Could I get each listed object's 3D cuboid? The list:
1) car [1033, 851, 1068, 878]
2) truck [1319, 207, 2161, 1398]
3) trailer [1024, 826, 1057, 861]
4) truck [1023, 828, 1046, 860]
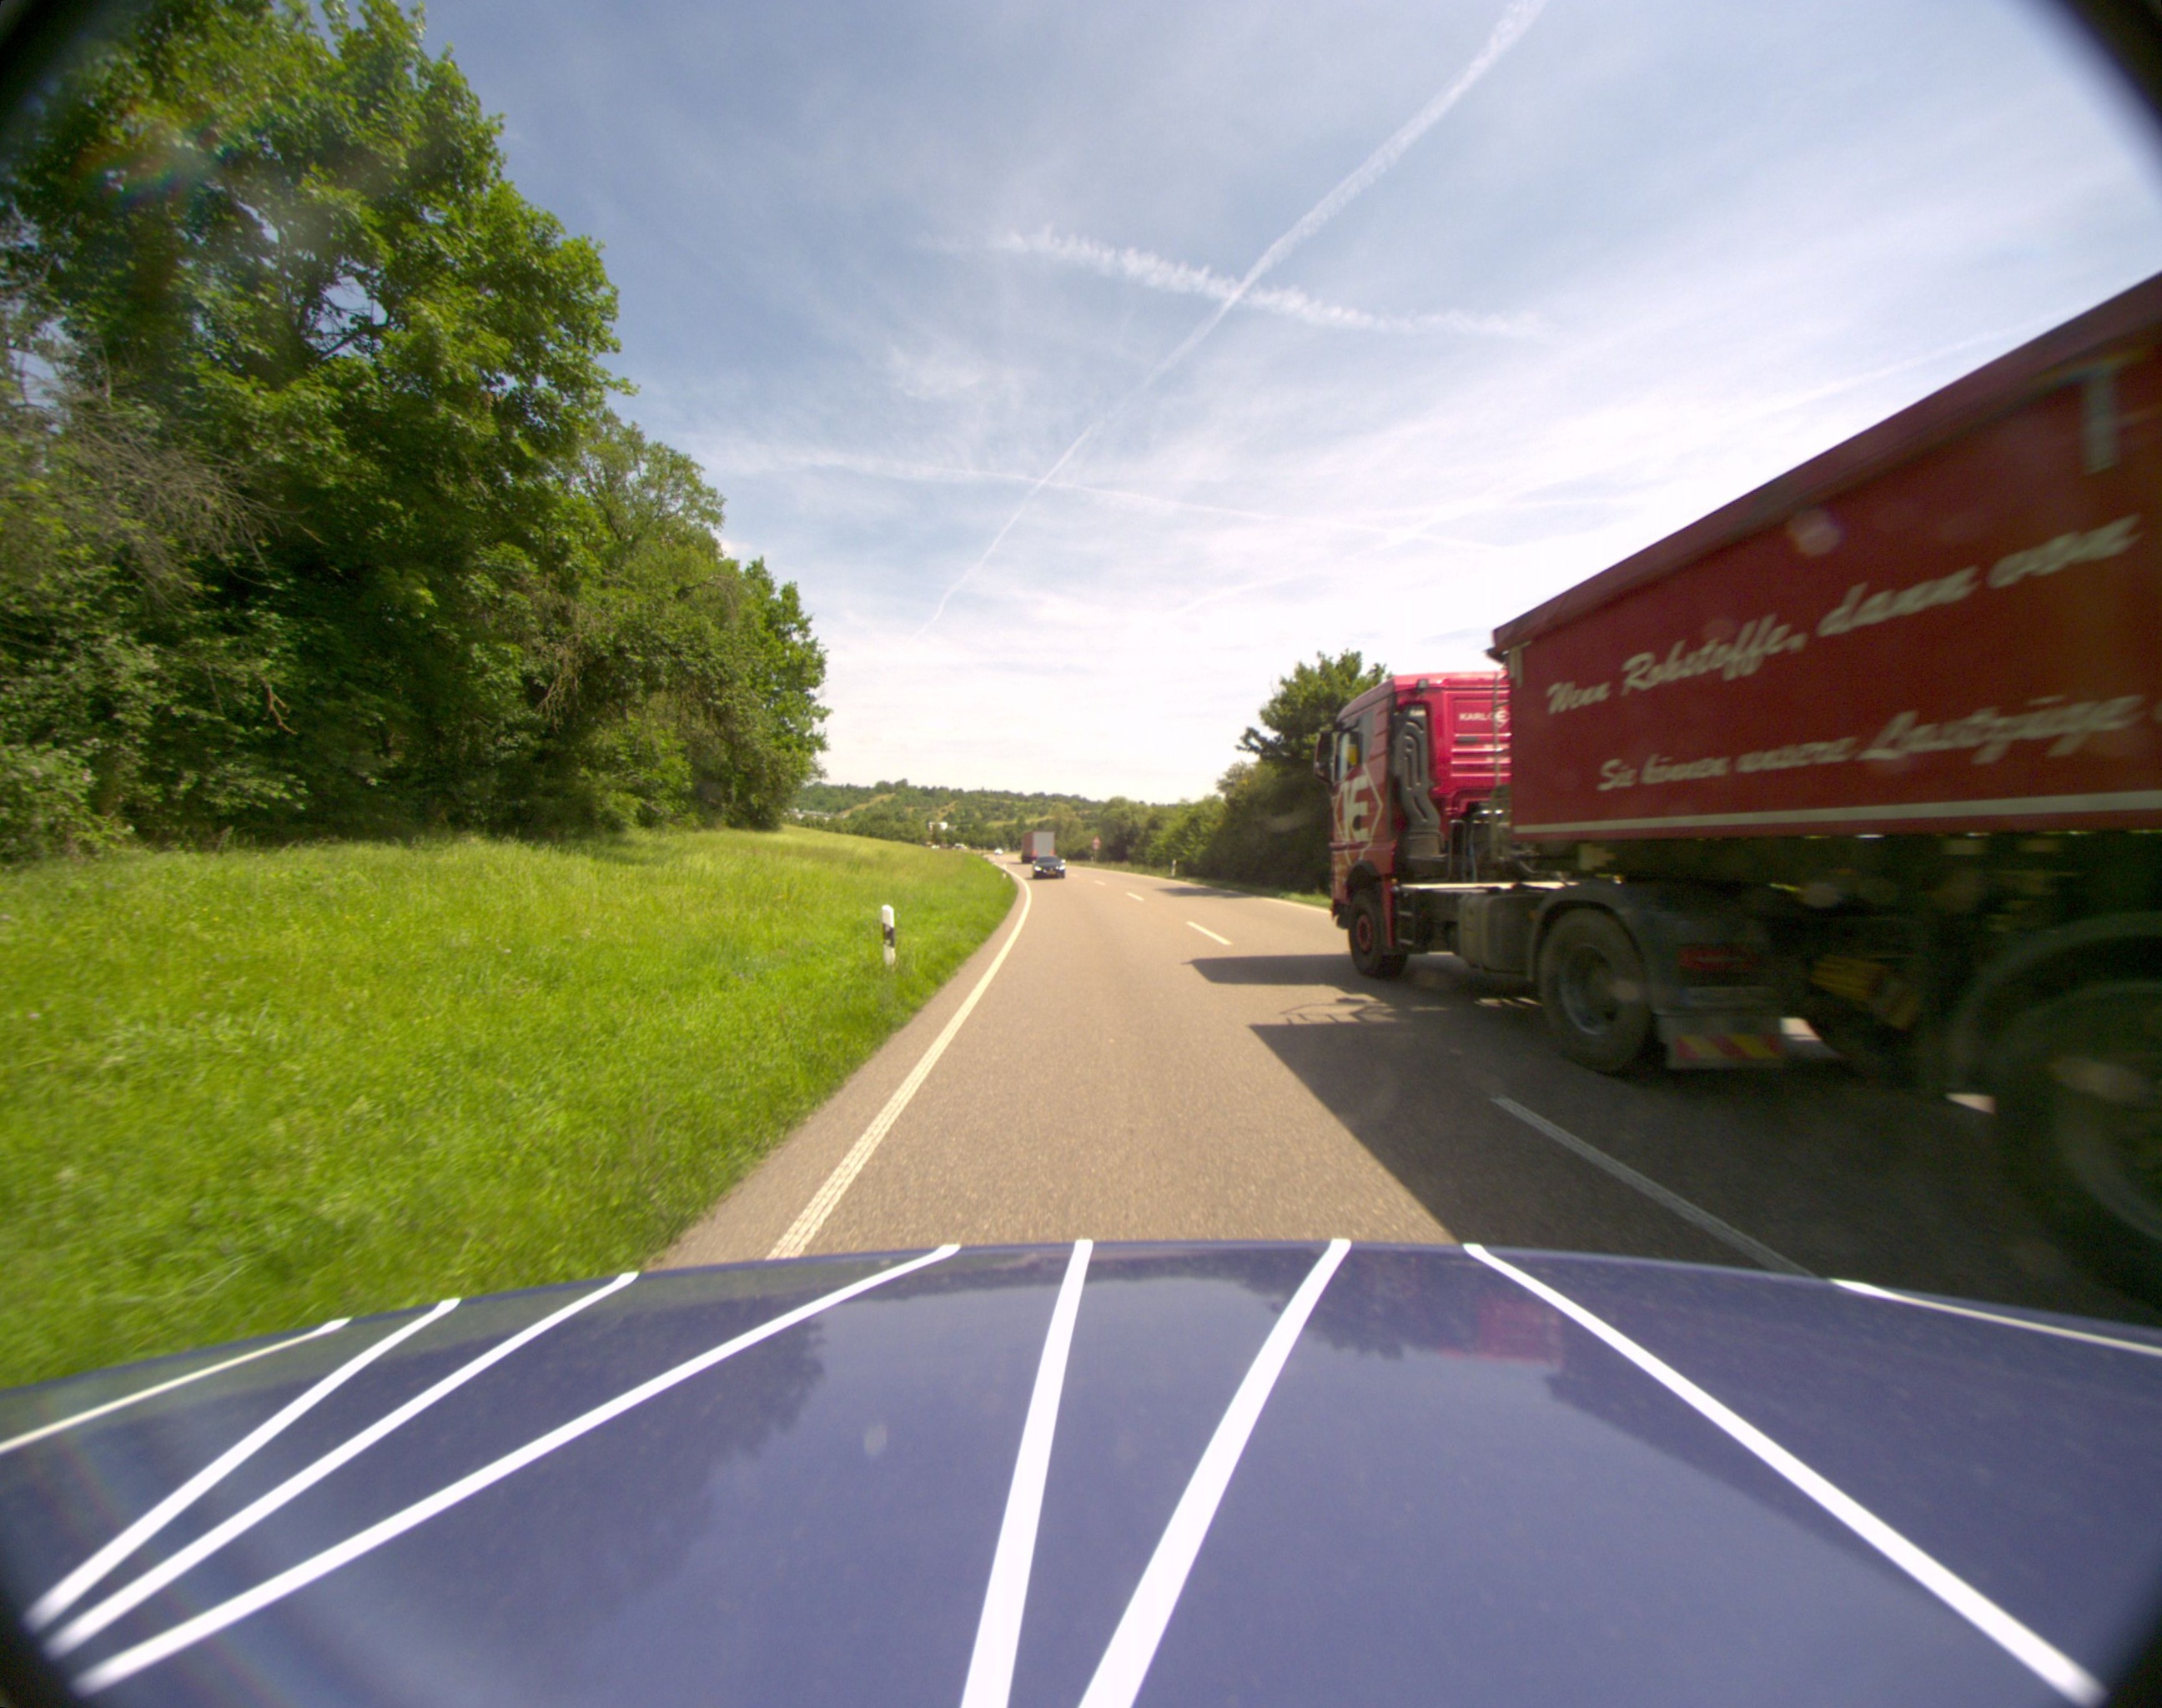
[{"bbox_3d":[-1.937,0.606,46.616,1.786,1.440,4.601,-4,1,-6],"label":"car"},{"bbox_3d":[4.426,-0.169,3.955,2.559,3.432,12.633,-1,0,1],"label":"truck"},{"bbox_3d":[-5.189,-1.271,95.180,2.577,4.084,13.649,-1,1,-9],"label":"trailer"},{"bbox_3d":[-6.303,-1.341,102.199,2.567,4.092,5.794,-1,1,-9],"label":"truck"}]
